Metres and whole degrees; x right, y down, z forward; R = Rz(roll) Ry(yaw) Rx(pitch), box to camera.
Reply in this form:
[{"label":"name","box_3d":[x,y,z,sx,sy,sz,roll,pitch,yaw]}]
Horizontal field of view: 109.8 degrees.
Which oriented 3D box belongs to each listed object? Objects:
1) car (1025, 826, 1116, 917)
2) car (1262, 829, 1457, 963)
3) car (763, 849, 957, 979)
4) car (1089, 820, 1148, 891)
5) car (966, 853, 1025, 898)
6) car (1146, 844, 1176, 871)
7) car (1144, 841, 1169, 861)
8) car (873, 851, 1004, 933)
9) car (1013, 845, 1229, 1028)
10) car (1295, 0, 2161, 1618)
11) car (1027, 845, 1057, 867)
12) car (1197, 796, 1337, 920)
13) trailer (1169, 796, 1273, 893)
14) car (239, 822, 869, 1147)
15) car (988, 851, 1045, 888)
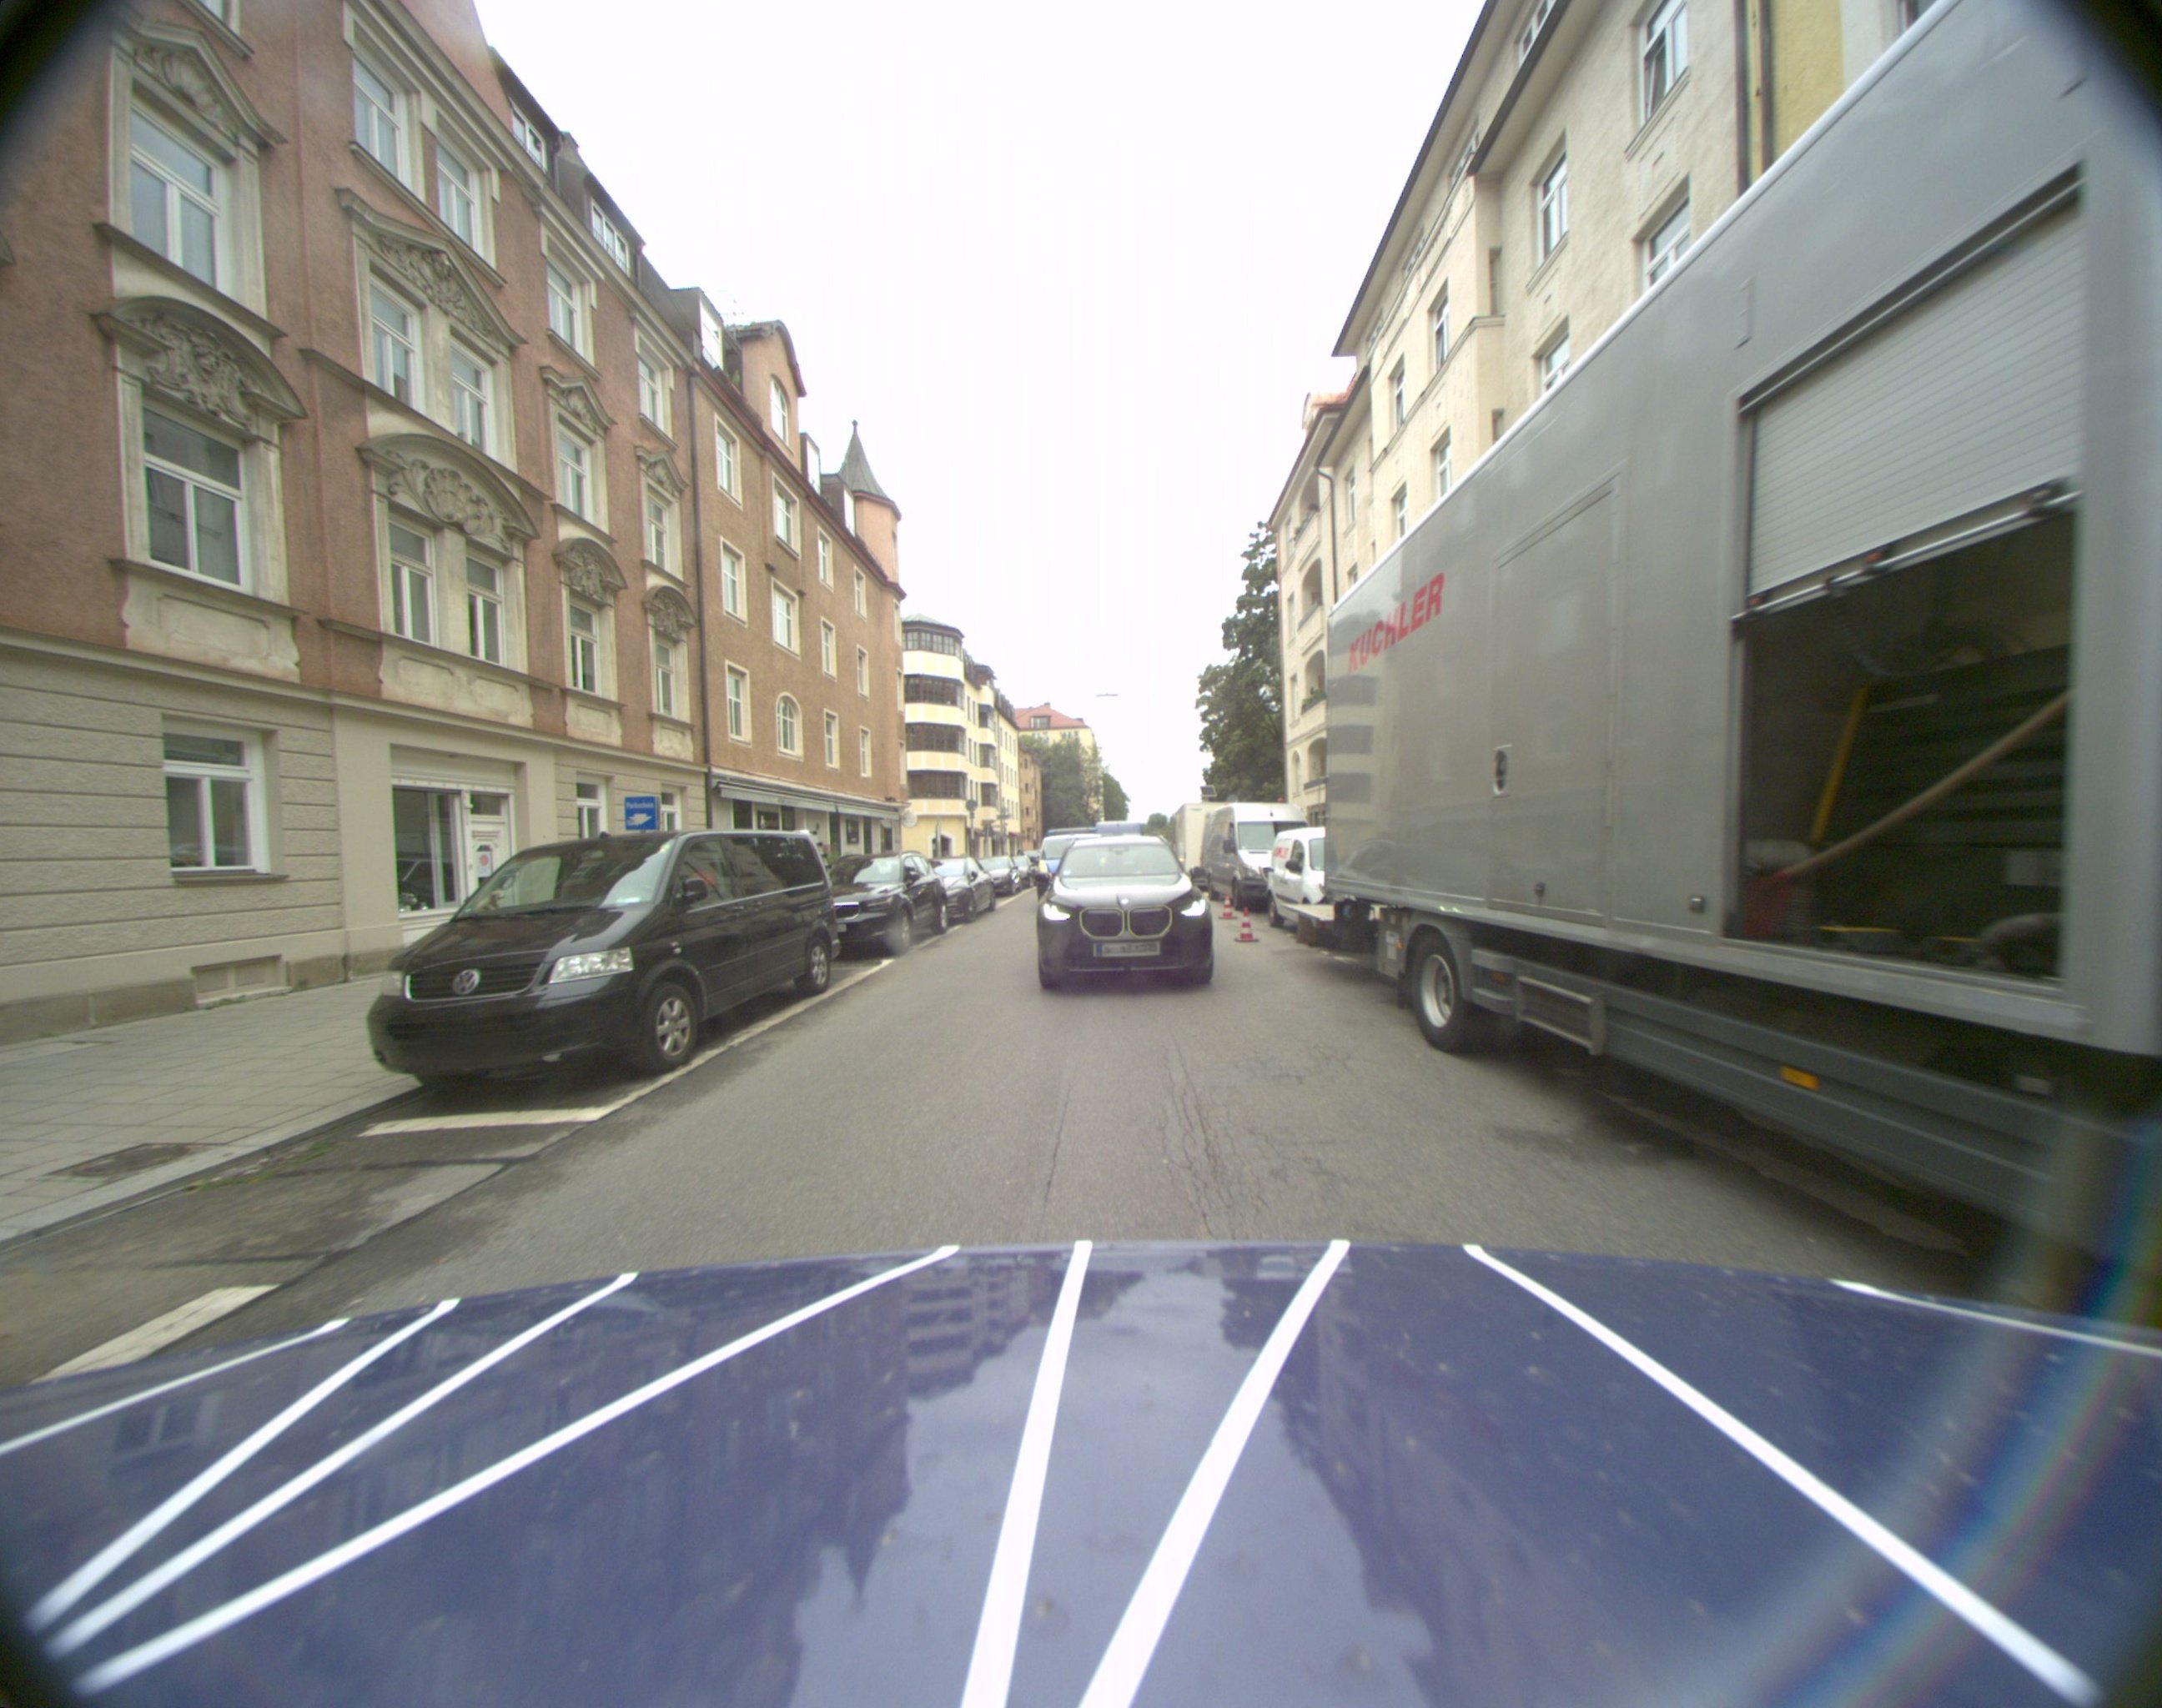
[{"label":"car","box_3d":[-0.124,0.372,21.112,1.826,2.087,5.634,-3,1,5]},{"label":"car","box_3d":[4.192,0.519,12.222,1.767,1.769,4.327,0,1,3]},{"label":"car","box_3d":[-3.545,0.852,13.136,1.697,1.667,4.407,-5,1,3]},{"label":"car","box_3d":[1.624,-0.052,30.268,2.005,2.477,6.233,-2,2,5]},{"label":"car","box_3d":[-3.049,0.740,27.886,1.576,1.386,4.182,-2,1,1]},{"label":"car","box_3d":[5.348,0.197,51.040,1.817,1.580,4.164,2,2,4]},{"label":"car","box_3d":[6.049,-0.287,60.635,1.816,1.455,4.165,2,2,8]},{"label":"car","box_3d":[-3.256,0.782,18.632,1.935,1.544,5.636,-3,1,1]},{"label":"car","box_3d":[0.427,0.731,9.061,1.921,1.557,4.293,-2,2,2]},{"label":"car","box_3d":[3.639,-0.422,3.864,2.819,3.796,8.722,-2,1,2]},{"label":"car","box_3d":[-3.154,0.128,62.250,1.817,1.580,4.165,2,2,6]},{"label":"car","box_3d":[4.482,0.029,19.628,2.061,2.572,6.876,2,1,2]},{"label":"trailer","box_3d":[4.734,-0.316,27.118,2.810,2.952,7.601,1,0,4]},{"label":"car","box_3d":[-3.970,0.762,7.242,2.087,1.910,5.140,-3,1,3]},{"label":"car","box_3d":[-2.777,0.634,33.624,1.851,1.397,4.788,-2,1,2]}]
